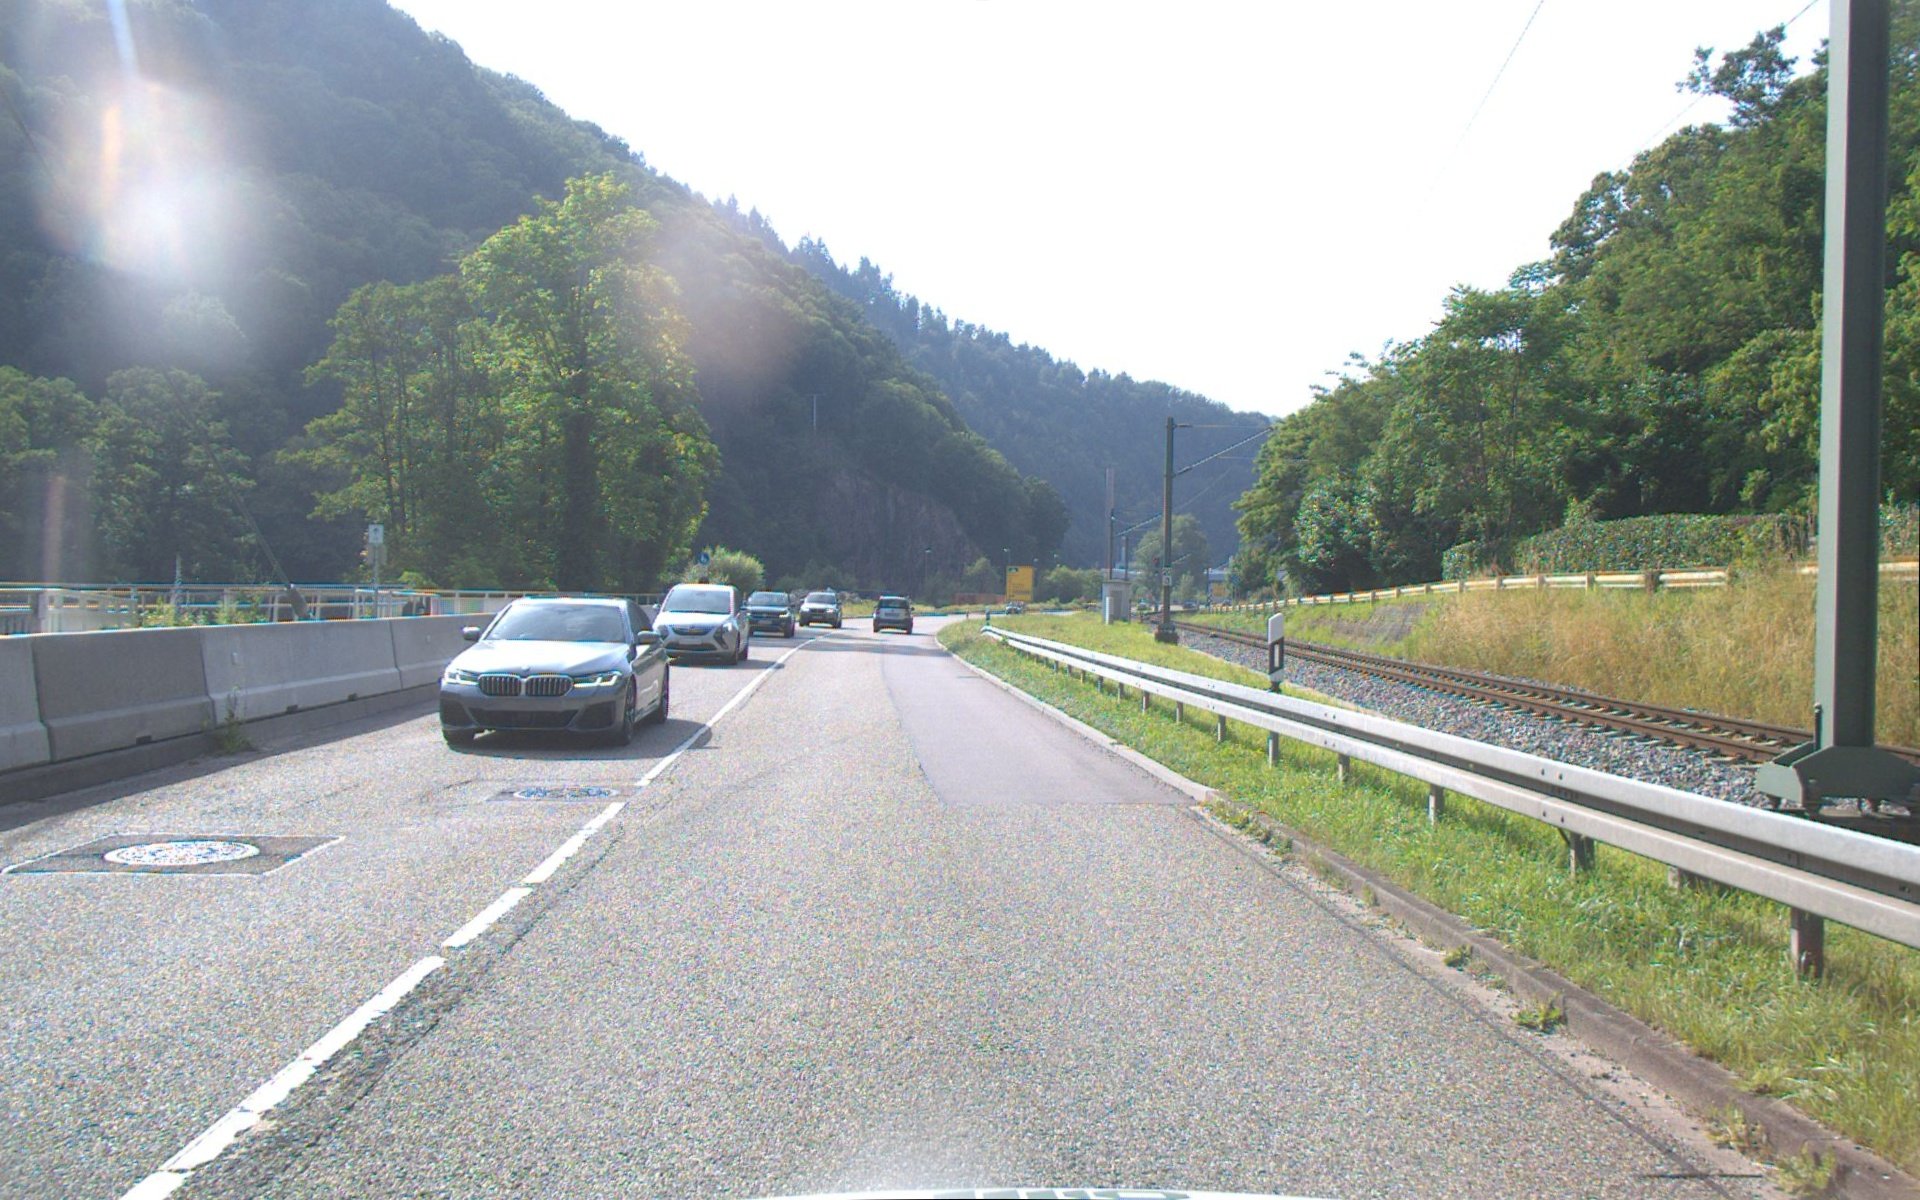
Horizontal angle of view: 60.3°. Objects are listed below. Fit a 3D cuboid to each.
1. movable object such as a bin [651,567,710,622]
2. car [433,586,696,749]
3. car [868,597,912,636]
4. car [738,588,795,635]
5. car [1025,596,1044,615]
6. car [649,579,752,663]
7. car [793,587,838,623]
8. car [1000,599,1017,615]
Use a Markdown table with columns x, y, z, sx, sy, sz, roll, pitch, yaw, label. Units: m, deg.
| x | y | z | sx | sy | sz | roll | pitch | yaw | label |
| --- | --- | --- | --- | --- | --- | --- | --- | --- | --- |
| -21.396 | -0.399 | 126.954 | 2.643 | 4.016 | 9.991 | 0 | 0 | 1 | movable object such as a bin |
| -4.137 | 0.643 | 18.128 | 1.800 | 1.522 | 4.934 | 1 | 0 | -2 | car |
| -3.269 | 0.749 | 76.698 | 1.954 | 1.754 | 3.987 | 0 | 0 | -4 | car |
| -6.861 | 0.382 | 58.992 | 1.763 | 1.583 | 4.328 | 2 | 0 | -4 | car |
| 8.167 | 0.574 | 180.586 | 1.951 | 2.049 | 4.002 | -1 | 0 | 4 | car |
| -5.556 | 0.416 | 35.830 | 1.738 | 1.699 | 4.644 | 0 | 0 | -3 | car |
| -7.047 | 0.220 | 80.949 | 1.954 | 1.657 | 4.505 | 2 | 0 | -3 | car |
| 5.909 | 0.796 | 200.640 | 1.812 | 1.815 | 4.686 | 3 | 0 | 3 | car |
